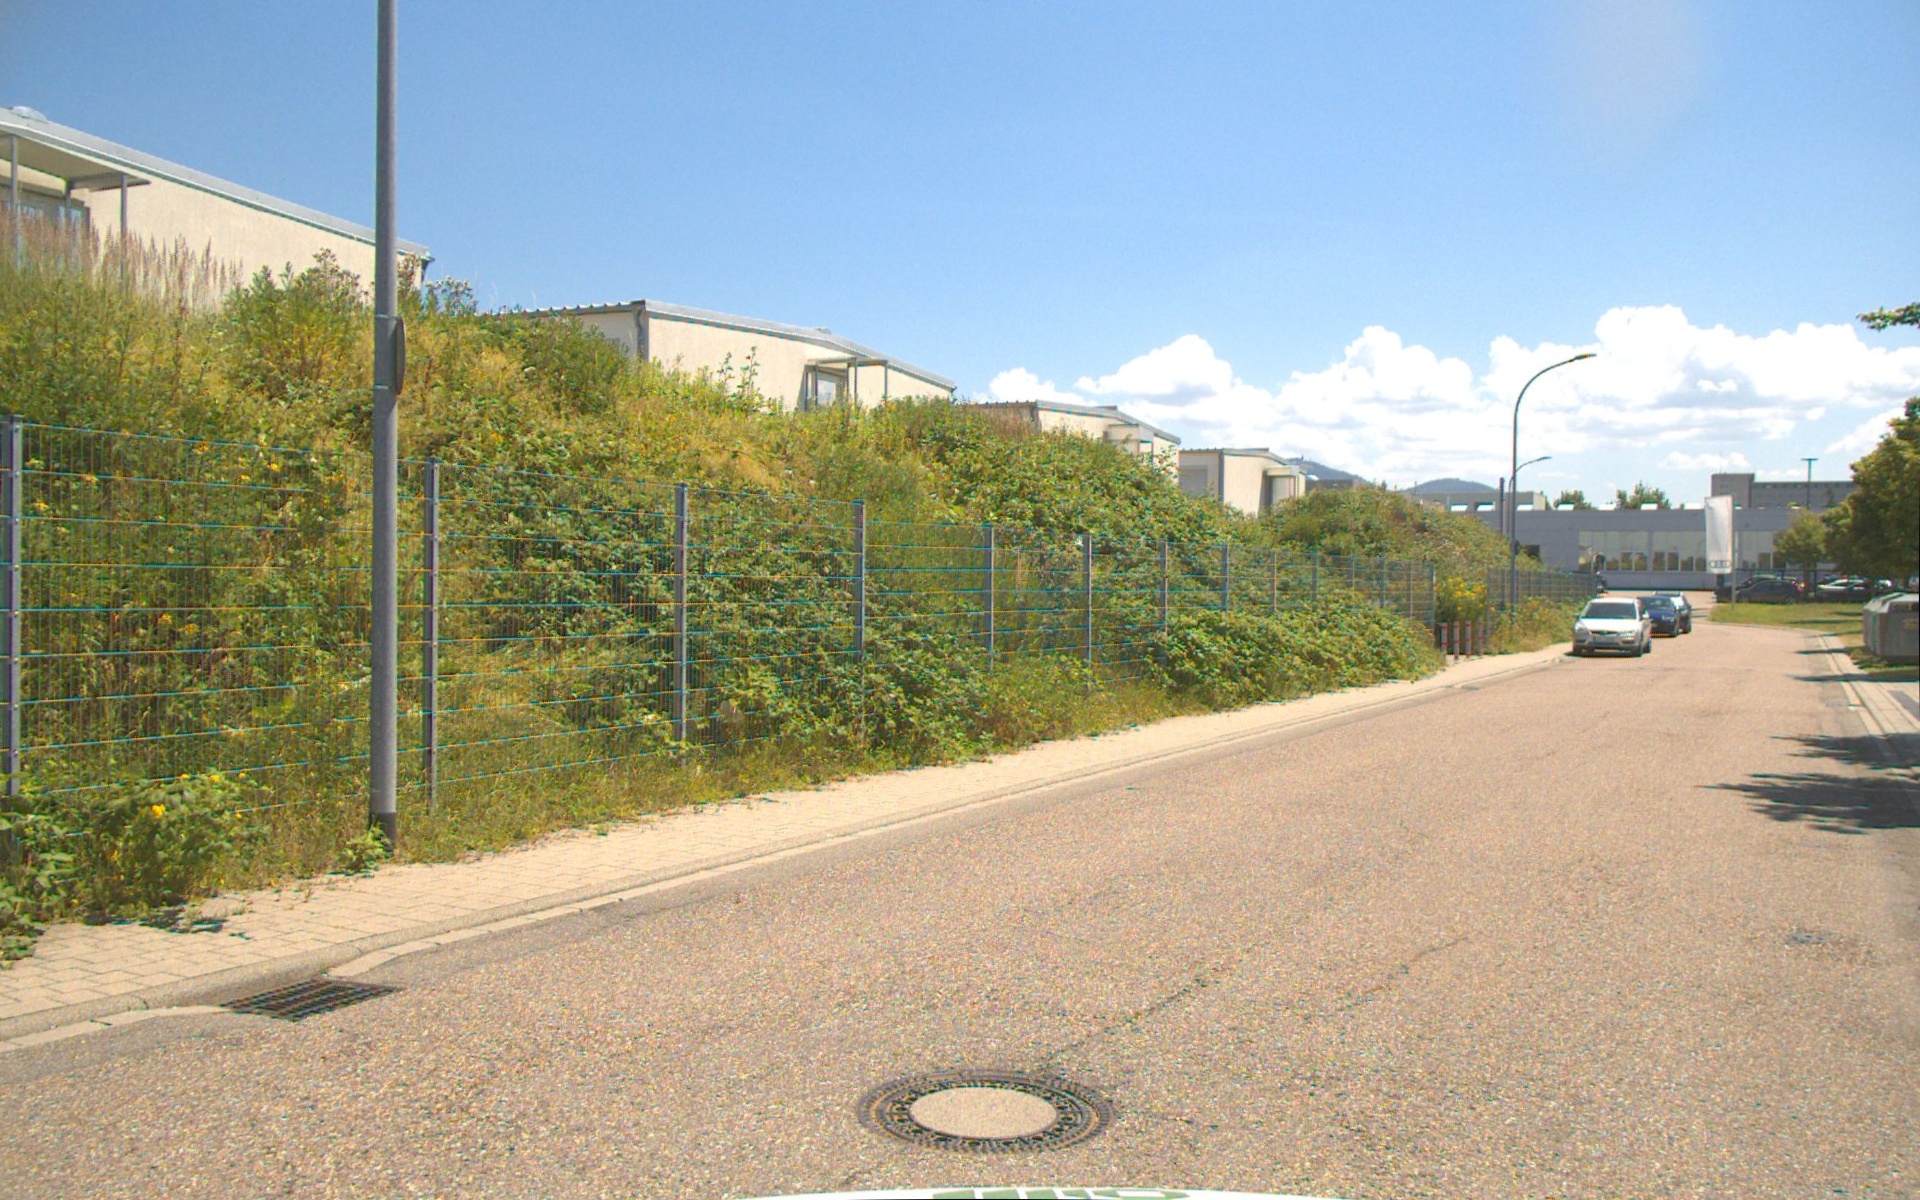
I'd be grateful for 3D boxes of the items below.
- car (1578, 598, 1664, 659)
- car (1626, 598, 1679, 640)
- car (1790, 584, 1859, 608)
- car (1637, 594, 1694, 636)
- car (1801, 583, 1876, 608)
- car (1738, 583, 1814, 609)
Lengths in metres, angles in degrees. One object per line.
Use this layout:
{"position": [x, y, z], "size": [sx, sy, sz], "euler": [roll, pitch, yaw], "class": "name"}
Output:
{"position": [18.125, 0.745, 45.259], "size": [1.798, 1.573, 4.362], "euler": [0, 0, 27], "class": "car"}
{"position": [25.371, 0.672, 60.568], "size": [1.623, 1.442, 4.142], "euler": [0, 0, 25], "class": "car"}
{"position": [56.132, -0.243, 107.432], "size": [3.908, 1.422, 1.998], "euler": [1, -1, 26], "class": "car"}
{"position": [27.878, 0.568, 65.300], "size": [1.798, 1.573, 4.259], "euler": [0, 0, 27], "class": "car"}
{"position": [52.828, -0.269, 99.541], "size": [3.908, 1.422, 1.998], "euler": [1, -1, 26], "class": "car"}
{"position": [47.670, -0.222, 96.710], "size": [3.908, 1.422, 1.998], "euler": [1, -1, 26], "class": "car"}
